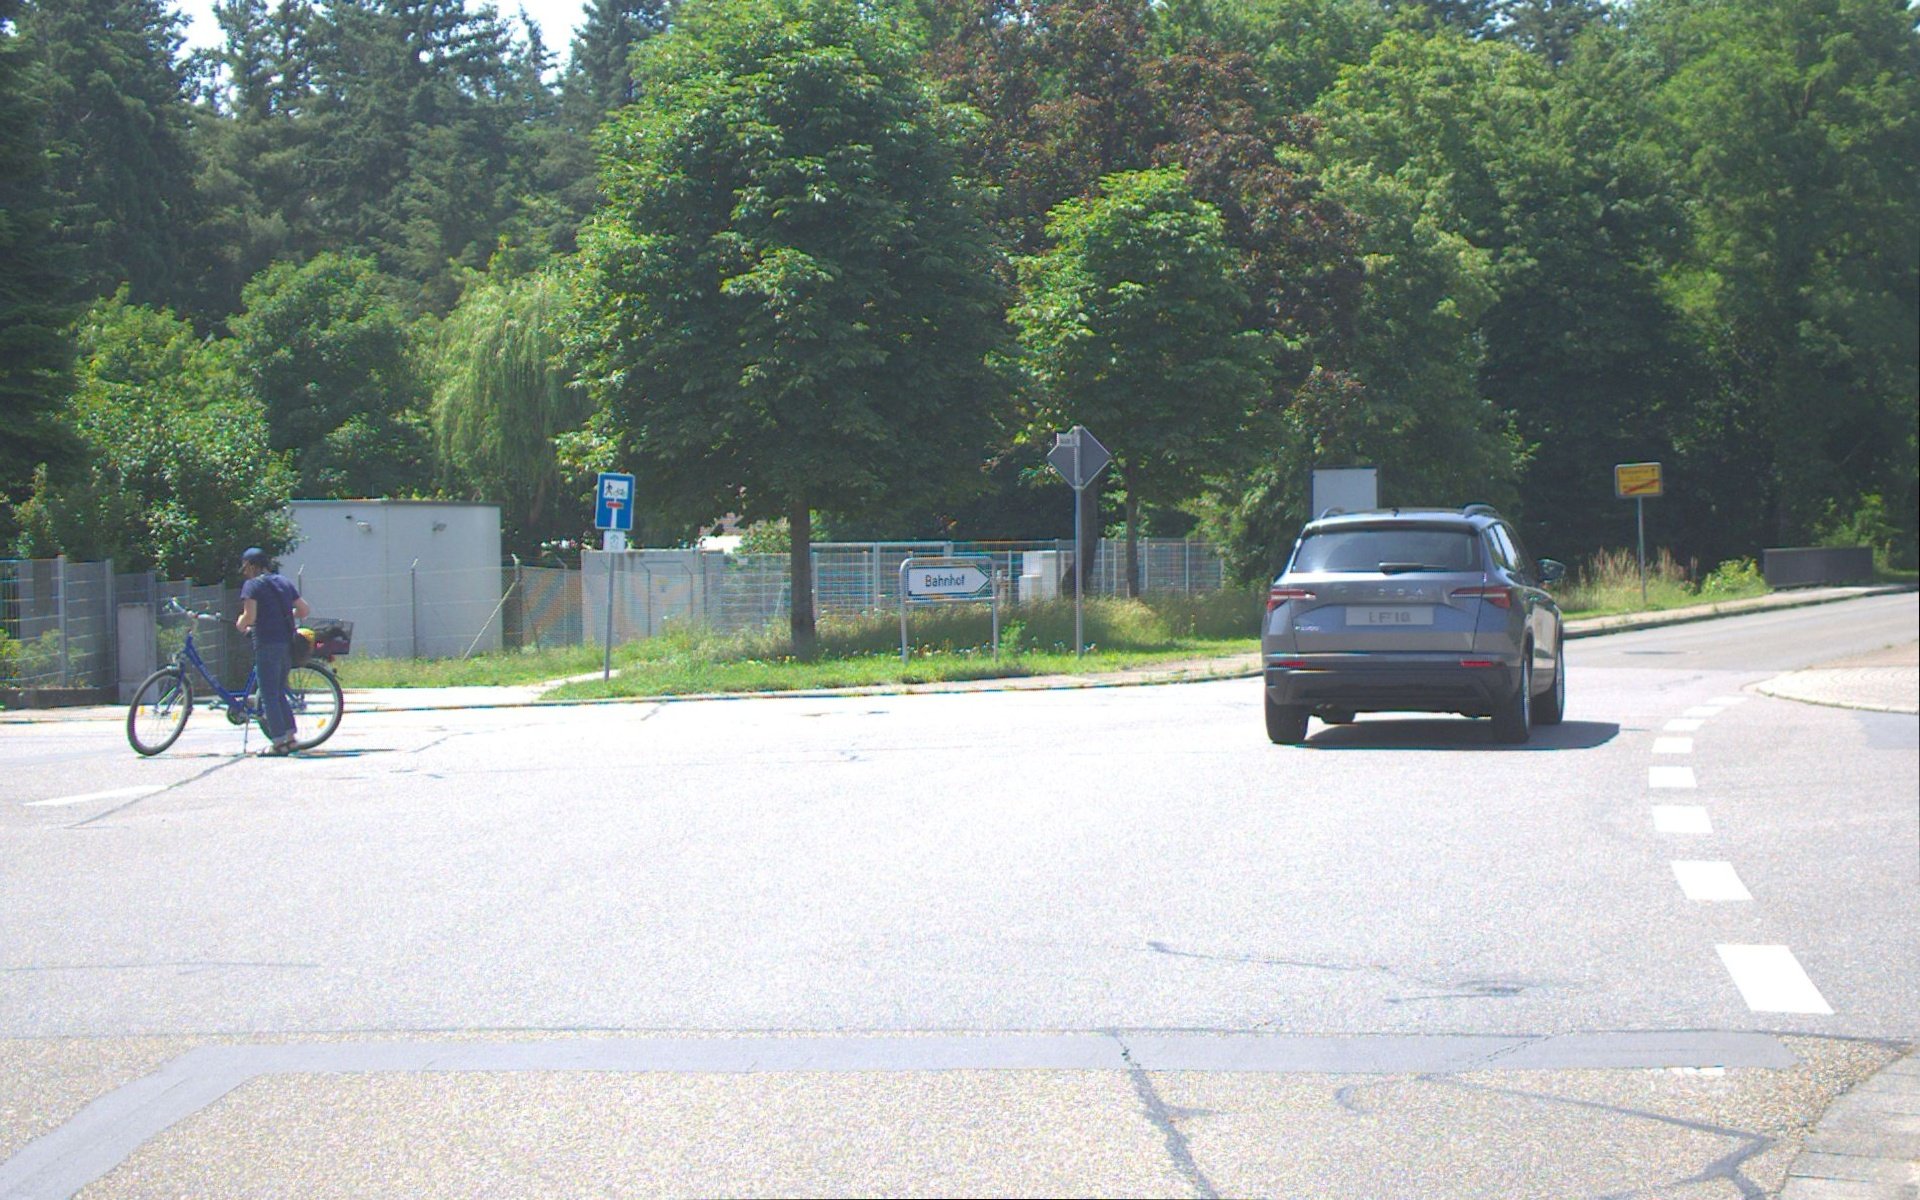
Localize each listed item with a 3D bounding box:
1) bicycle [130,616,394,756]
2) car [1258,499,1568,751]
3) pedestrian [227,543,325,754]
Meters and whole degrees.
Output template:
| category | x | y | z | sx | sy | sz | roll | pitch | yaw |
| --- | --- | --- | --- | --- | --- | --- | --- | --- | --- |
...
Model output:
| category | x | y | z | sx | sy | sz | roll | pitch | yaw |
| --- | --- | --- | --- | --- | --- | --- | --- | --- | --- |
| bicycle | -5.130 | 0.621 | 25.303 | 1.842 | 0.960 | 0.443 | -1 | 1 | -21 |
| car | 3.296 | 0.133 | 24.428 | 1.763 | 1.612 | 3.998 | 1 | 1 | 13 |
| pedestrian | -4.945 | 0.340 | 24.843 | 0.610 | 1.495 | 0.504 | -1 | 1 | -20 |
